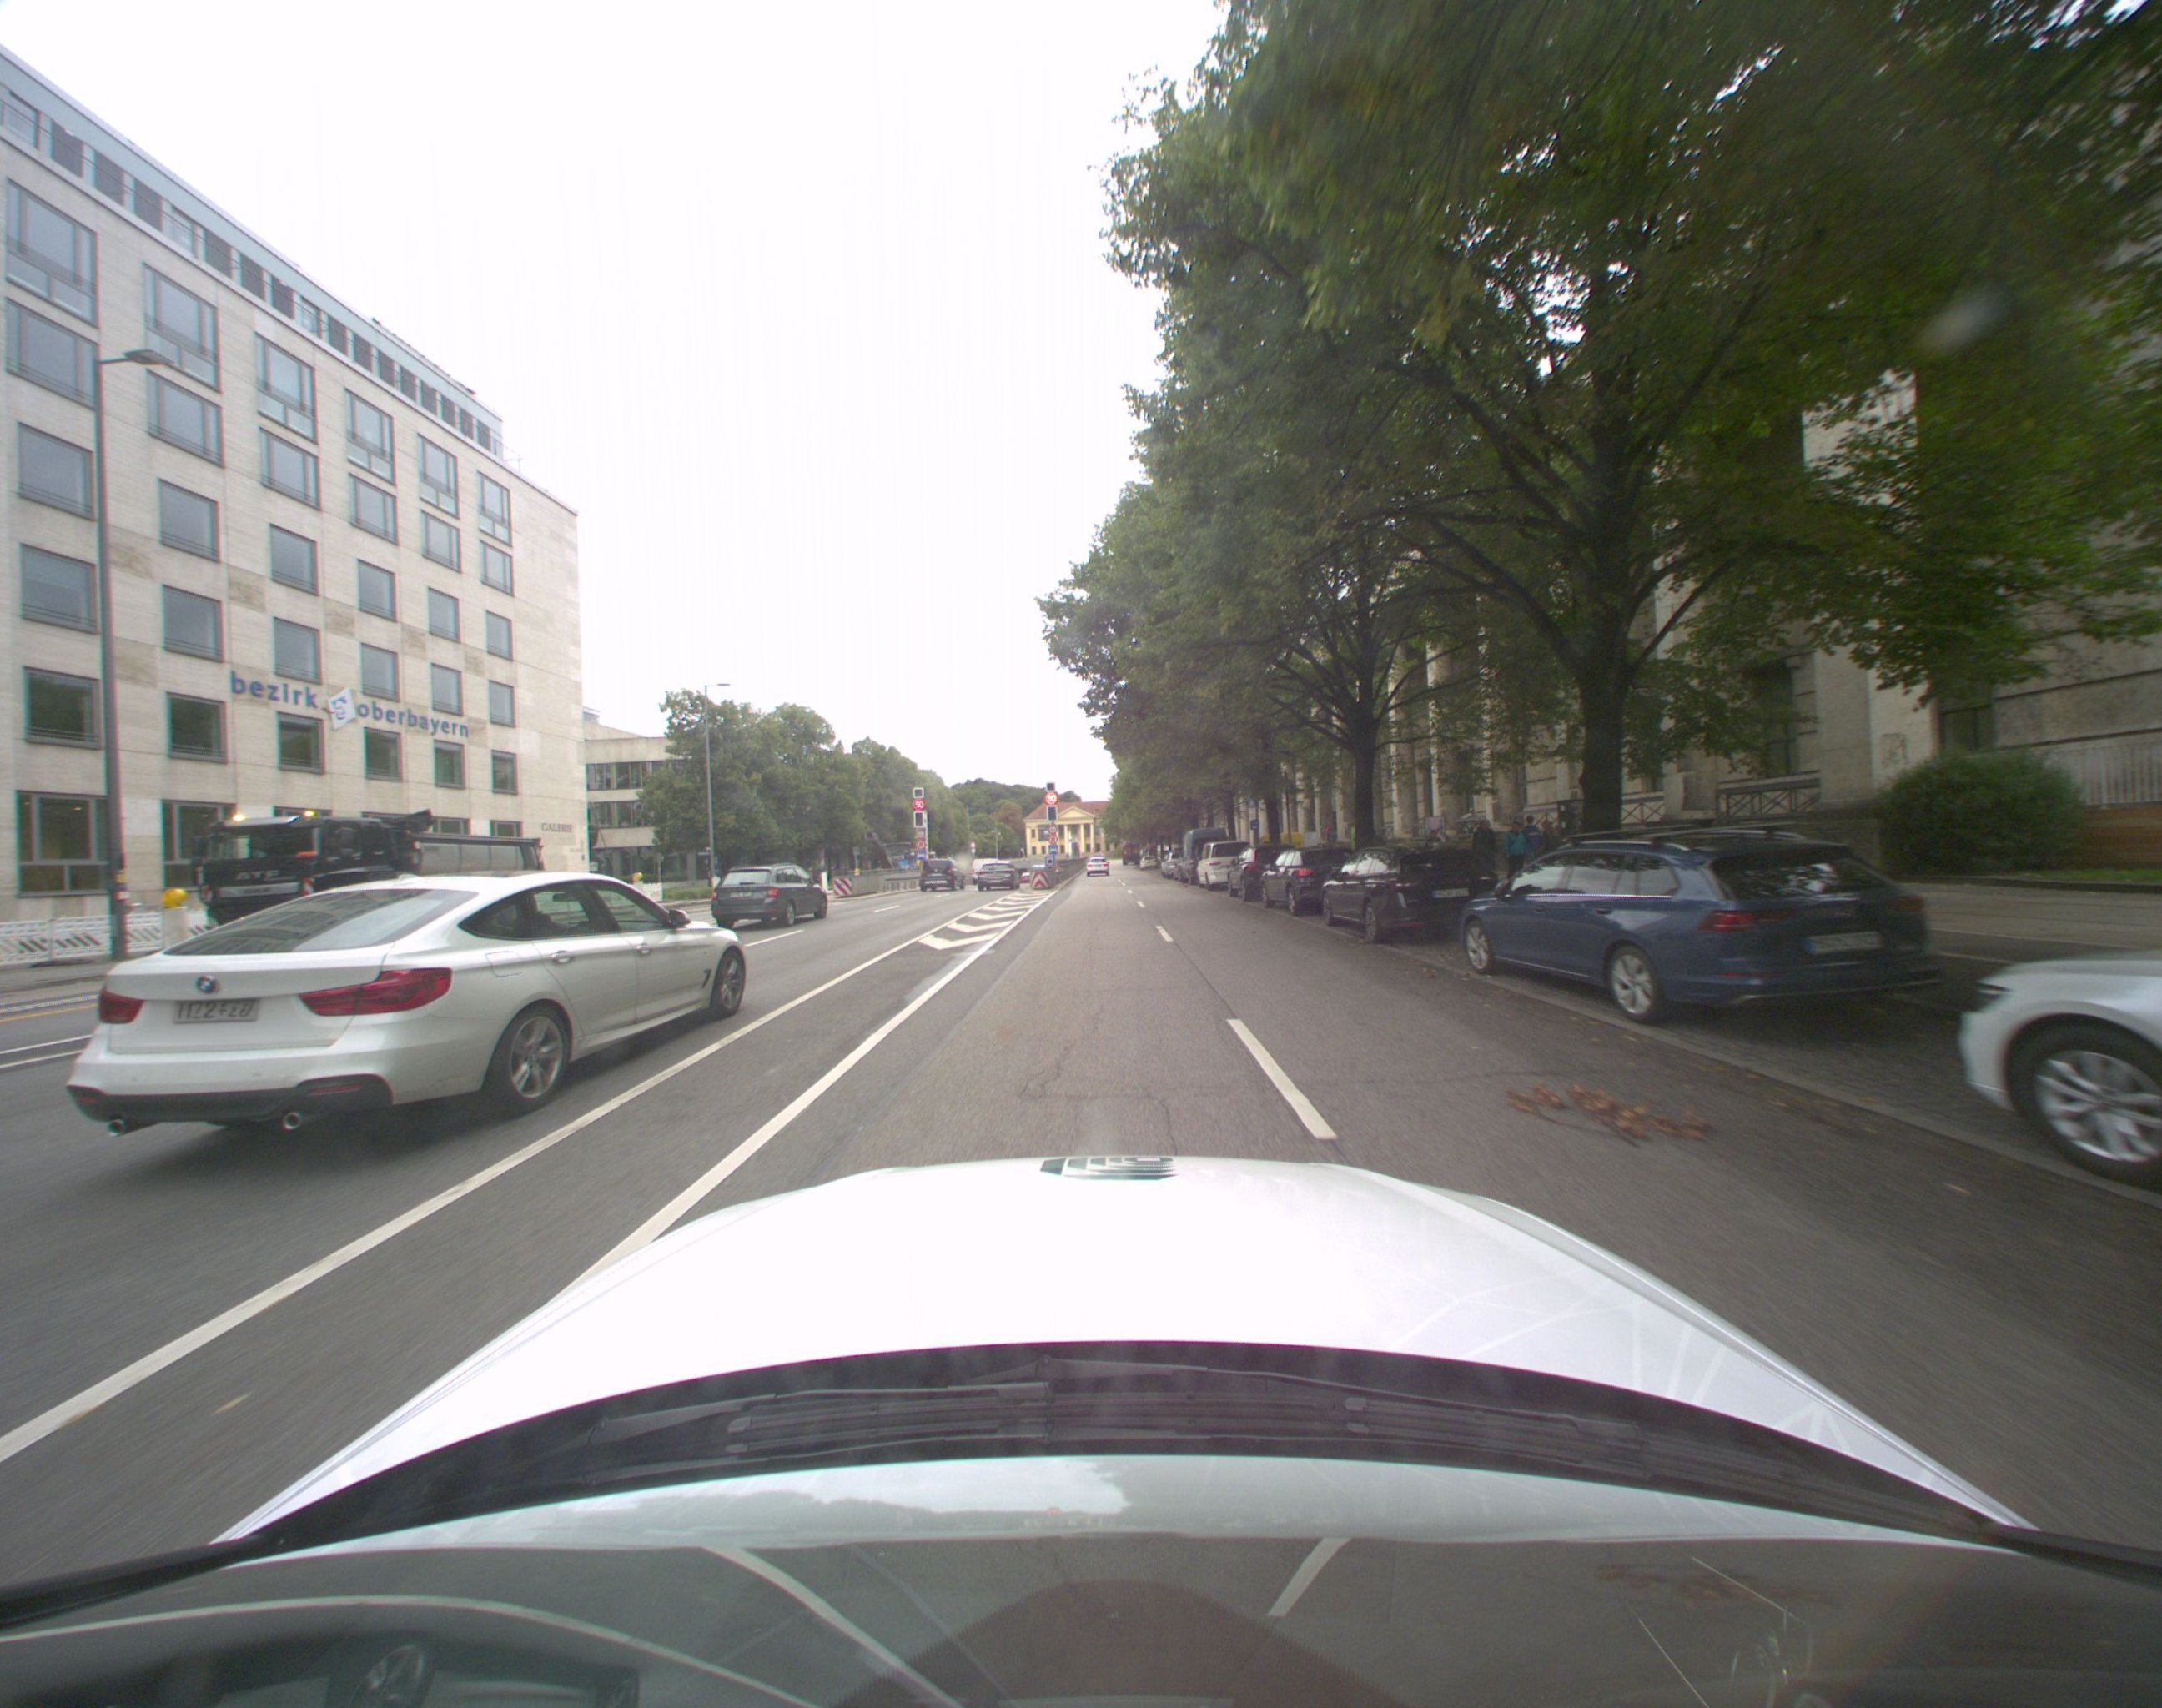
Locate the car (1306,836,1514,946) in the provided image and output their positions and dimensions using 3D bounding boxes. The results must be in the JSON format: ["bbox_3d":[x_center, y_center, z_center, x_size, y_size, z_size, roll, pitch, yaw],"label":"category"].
[{"bbox_3d":[5.320,0.534,13.917,1.718,1.464,4.778,-3,0,2],"label":"car"}]

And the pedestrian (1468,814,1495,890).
[{"bbox_3d":[10.214,-0.051,20.784,0.524,1.910,0.655,-1,0,21],"label":"pedestrian"}]

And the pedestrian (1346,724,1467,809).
[{"bbox_3d":[9.358,-2.456,23.805,1.986,2.013,4.001,-1,0,2],"label":"pedestrian"}]

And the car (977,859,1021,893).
[{"bbox_3d":[-4.051,1.058,40.825,1.704,1.552,4.001,-1,0,1],"label":"car"}]

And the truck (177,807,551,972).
[{"bbox_3d":[-17.821,0.745,21.412,2.838,3.357,8.743,-1,0,-7],"label":"truck"}]

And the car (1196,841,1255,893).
[{"bbox_3d":[5.763,0.486,32.846,1.718,1.867,4.030,-3,0,2],"label":"car"}]

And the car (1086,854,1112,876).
[{"bbox_3d":[1.427,0.851,65.342,1.775,1.644,3.995,-1,0,-4],"label":"car"}]

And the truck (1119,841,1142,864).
[{"bbox_3d":[7.634,-0.267,126.328,3.313,3.367,8.665,-1,0,2],"label":"truck"}]

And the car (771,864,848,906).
[{"bbox_3d":[-11.655,1.282,35.207,1.988,1.596,3.997,-3,0,-2],"label":"car"}]

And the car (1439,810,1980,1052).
[{"bbox_3d":[5.254,0.531,7.810,1.718,1.549,4.588,-3,0,2],"label":"car"}]

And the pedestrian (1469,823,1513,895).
[{"bbox_3d":[11.190,0.129,22.242,0.776,1.910,0.771,-1,0,2],"label":"pedestrian"}]

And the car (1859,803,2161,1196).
[{"bbox_3d":[5.102,0.527,2.045,1.820,1.549,4.754,-3,0,2],"label":"car"}]

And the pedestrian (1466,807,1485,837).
[{"bbox_3d":[18.514,-1.490,38.224,0.564,1.373,0.646,-1,0,2],"label":"pedestrian"}]

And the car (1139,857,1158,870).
[{"bbox_3d":[7.149,0.979,86.714,1.718,1.324,4.030,-3,0,2],"label":"car"}]

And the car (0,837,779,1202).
[{"bbox_3d":[-4.243,0.801,6.374,1.787,1.636,5.026,-3,0,0],"label":"car"}]

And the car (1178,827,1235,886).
[{"bbox_3d":[6.050,0.111,39.875,1.987,2.643,4.877,-1,0,0],"label":"car"}]

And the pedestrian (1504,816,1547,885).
[{"bbox_3d":[12.489,-0.099,22.900,0.776,1.910,0.771,-1,0,2],"label":"pedestrian"}]

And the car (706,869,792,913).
[{"bbox_3d":[-13.889,1.517,34.341,1.988,1.596,3.997,-3,0,-2],"label":"car"}]

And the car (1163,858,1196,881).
[{"bbox_3d":[6.232,0.949,51.798,1.718,1.324,4.030,-3,0,2],"label":"car"}]

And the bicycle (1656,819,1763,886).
[{"bbox_3d":[14.433,-0.036,18.805,0.696,1.415,2.300,-3,0,2],"label":"bicycle"}]

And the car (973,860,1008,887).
[{"bbox_3d":[-6.648,1.390,60.192,1.892,1.847,4.956,-3,0,1],"label":"car"}]

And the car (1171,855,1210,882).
[{"bbox_3d":[6.152,0.810,46.037,1.718,1.364,4.030,-3,0,2],"label":"car"}]

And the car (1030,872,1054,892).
[{"bbox_3d":[-3.409,2.449,71.905,1.773,1.654,4.001,-1,0,1],"label":"car"}]

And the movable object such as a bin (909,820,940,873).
[{"bbox_3d":[-20.027,-0.928,104.560,2.689,6.511,5.178,-1,0,2],"label":"movable object such as a bin"}]

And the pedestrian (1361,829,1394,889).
[{"bbox_3d":[9.741,0.159,26.762,0.776,1.910,0.771,-1,0,2],"label":"pedestrian"}]

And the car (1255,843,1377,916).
[{"bbox_3d":[5.462,0.545,19.432,1.815,1.464,4.030,-3,0,2],"label":"car"}]

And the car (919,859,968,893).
[{"bbox_3d":[-7.115,1.114,42.504,1.716,1.636,4.205,-3,-1,1],"label":"car"}]

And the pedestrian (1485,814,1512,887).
[{"bbox_3d":[11.220,-0.088,21.909,0.524,1.910,0.655,-1,0,21],"label":"pedestrian"}]

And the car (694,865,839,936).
[{"bbox_3d":[-7.556,1.043,20.044,1.786,1.447,4.275,-3,0,1],"label":"car"}]

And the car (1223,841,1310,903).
[{"bbox_3d":[5.620,0.511,25.209,1.718,1.665,4.592,-3,0,2],"label":"car"}]
